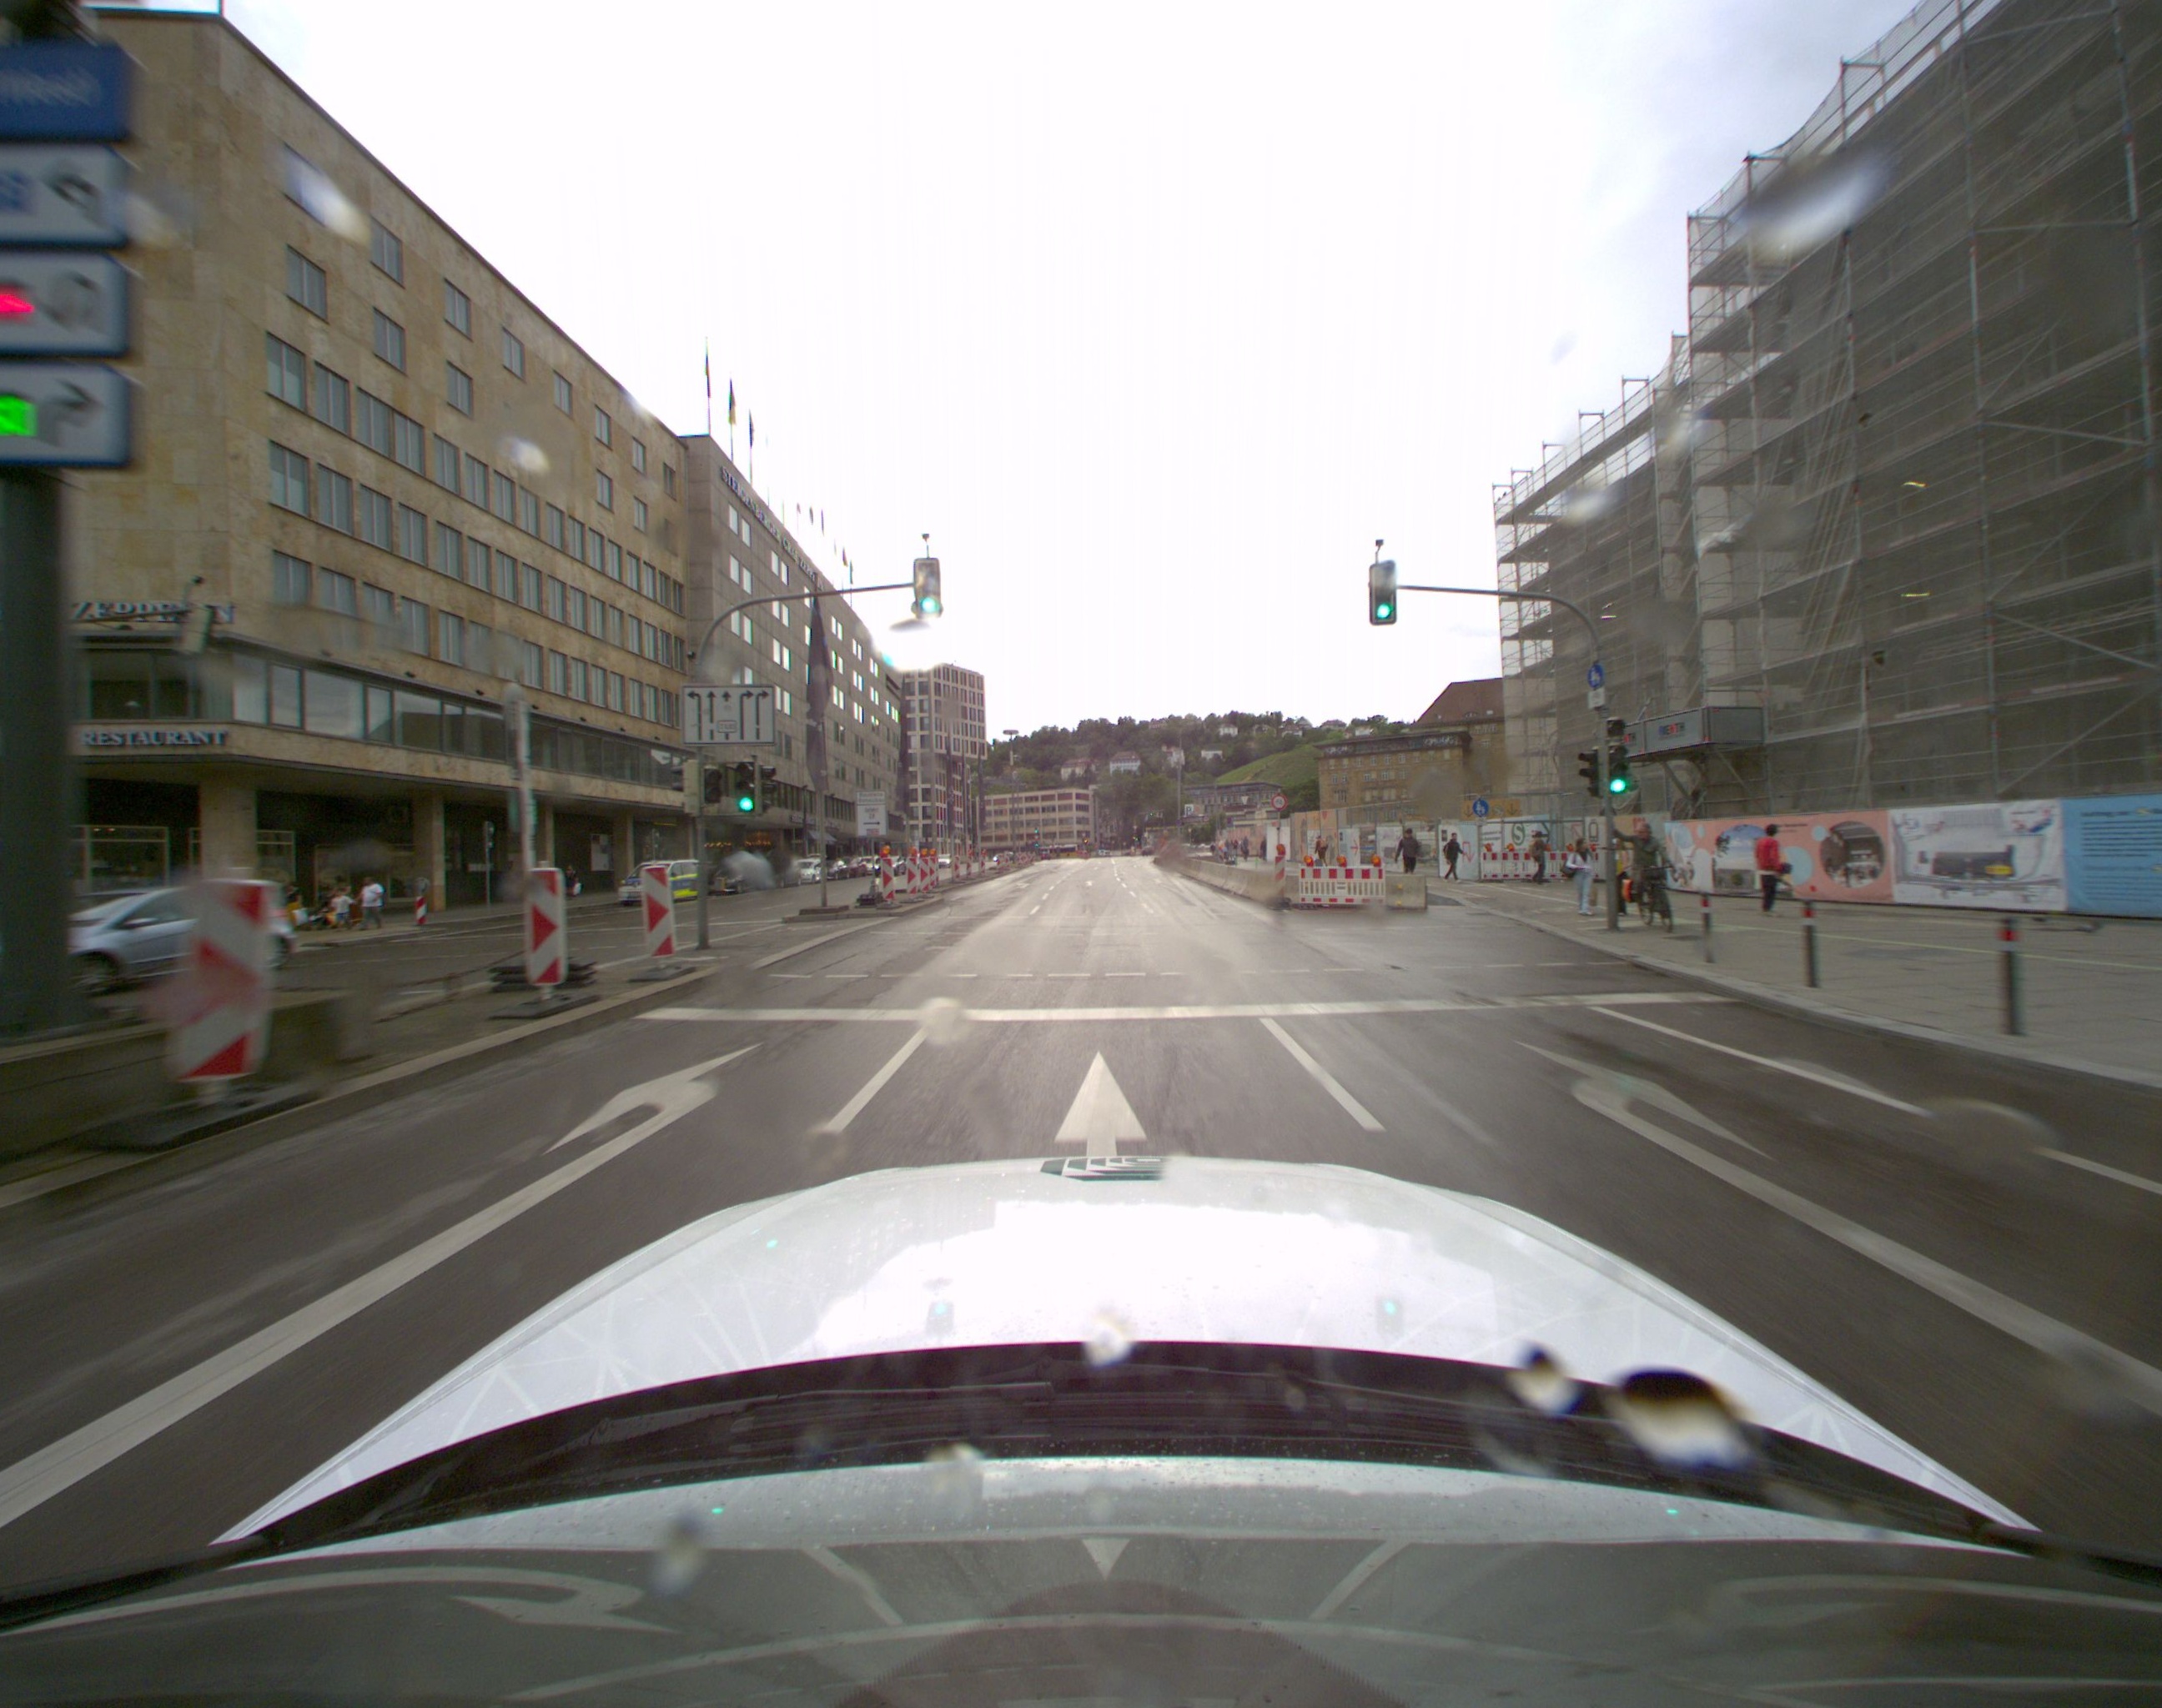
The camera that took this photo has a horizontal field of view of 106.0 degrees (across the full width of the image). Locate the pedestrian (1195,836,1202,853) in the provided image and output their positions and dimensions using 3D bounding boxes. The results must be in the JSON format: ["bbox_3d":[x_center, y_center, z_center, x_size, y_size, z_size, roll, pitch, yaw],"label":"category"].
[{"bbox_3d":[12.843,-1.037,88.833,0.685,1.841,0.615,-3,0,4],"label":"pedestrian"}]

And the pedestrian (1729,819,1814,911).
[{"bbox_3d":[12.665,0.190,14.963,0.769,1.608,0.859,-3,0,-15],"label":"pedestrian"}]

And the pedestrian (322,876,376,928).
[{"bbox_3d":[-22.986,1.496,25.594,0.718,1.557,1.005,-3,0,1],"label":"pedestrian"}]

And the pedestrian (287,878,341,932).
[{"bbox_3d":[-23.081,1.518,24.520,0.718,1.557,0.895,-3,0,1],"label":"pedestrian"}]

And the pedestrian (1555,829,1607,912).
[{"bbox_3d":[9.985,0.320,16.296,0.787,1.608,0.841,-3,0,28],"label":"pedestrian"}]

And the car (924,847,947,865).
[{"bbox_3d":[-17.601,0.252,98.650,1.987,2.013,4.000,-4,1,0],"label":"car"}]

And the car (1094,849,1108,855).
[{"bbox_3d":[4.536,-0.452,187.606,1.999,1.442,3.976,-1,1,-18],"label":"car"}]

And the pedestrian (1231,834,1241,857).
[{"bbox_3d":[12.524,-0.680,65.801,0.685,1.841,0.615,-3,0,4],"label":"pedestrian"}]

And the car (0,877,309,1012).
[{"bbox_3d":[-14.885,1.266,12.618,1.763,1.609,4.225,-3,0,0],"label":"car"}]

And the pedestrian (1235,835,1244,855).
[{"bbox_3d":[14.677,-0.852,75.240,0.685,1.841,0.615,-3,0,4],"label":"pedestrian"}]

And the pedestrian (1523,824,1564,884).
[{"bbox_3d":[14.783,-0.010,26.060,0.859,1.841,0.799,-3,0,9],"label":"pedestrian"}]

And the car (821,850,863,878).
[{"bbox_3d":[-18.507,0.734,63.314,1.987,2.013,4.000,-3,0,0],"label":"car"}]

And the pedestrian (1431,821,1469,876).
[{"bbox_3d":[12.748,-0.180,28.146,0.856,1.841,0.955,-3,0,42],"label":"pedestrian"}]

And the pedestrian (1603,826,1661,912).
[{"bbox_3d":[10.624,0.279,15.740,0.787,1.608,0.841,-3,0,28],"label":"pedestrian"}]

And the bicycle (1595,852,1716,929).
[{"bbox_3d":[9.516,0.567,13.587,0.704,1.049,1.808,-9,1,4],"label":"bicycle"}]

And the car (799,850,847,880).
[{"bbox_3d":[-18.400,0.749,58.250,1.987,2.013,4.000,-3,0,0],"label":"car"}]

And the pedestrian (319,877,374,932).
[{"bbox_3d":[-21.666,1.474,24.041,0.718,1.557,0.905,-3,0,1],"label":"pedestrian"}]

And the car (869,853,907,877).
[{"bbox_3d":[-15.549,0.856,65.860,1.987,1.750,4.000,-3,0,0],"label":"car"}]

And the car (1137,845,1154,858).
[{"bbox_3d":[9.191,-0.333,116.421,1.988,1.706,3.998,-3,0,-2],"label":"car"}]

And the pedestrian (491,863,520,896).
[{"bbox_3d":[-27.544,1.204,38.968,0.792,1.526,0.717,-3,0,1],"label":"pedestrian"}]

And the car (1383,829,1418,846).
[{"bbox_3d":[41.992,-2.185,107.058,3.963,2.013,2.005,-3,0,9],"label":"car"}]

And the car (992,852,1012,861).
[{"bbox_3d":[-16.369,0.484,169.540,1.974,1.596,4.026,-3,1,32],"label":"car"}]

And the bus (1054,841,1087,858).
[{"bbox_3d":[-2.637,-1.171,201.450,2.715,3.760,9.218,-3,0,-39],"label":"bus"}]

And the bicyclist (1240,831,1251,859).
[{"bbox_3d":[12.257,-0.662,60.540,0.639,2.013,0.656,-3,0,4],"label":"bicyclist"}]

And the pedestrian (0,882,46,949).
[{"bbox_3d":[-29.800,1.701,22.767,0.697,1.803,0.756,-3,0,-19],"label":"pedestrian"}]

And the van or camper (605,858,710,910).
[{"bbox_3d":[-18.566,1.240,36.016,1.988,2.013,4.963,-3,0,-1],"label":"van or camper"}]

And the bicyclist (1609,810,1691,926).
[{"bbox_3d":[9.511,0.224,13.656,0.700,1.844,0.969,-1,0,4],"label":"bicyclist"}]

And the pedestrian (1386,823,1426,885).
[{"bbox_3d":[9.923,-0.003,24.874,0.937,1.841,0.953,-3,0,30],"label":"pedestrian"}]

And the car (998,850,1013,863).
[{"bbox_3d":[-12.874,0.464,138.876,1.987,2.013,4.000,-4,1,0],"label":"car"}]

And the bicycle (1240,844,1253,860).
[{"bbox_3d":[12.258,-0.121,60.313,0.642,1.137,1.766,-3,0,4],"label":"bicycle"}]

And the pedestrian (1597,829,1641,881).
[{"bbox_3d":[17.598,0.031,26.643,0.861,1.661,0.798,-3,0,2],"label":"pedestrian"}]

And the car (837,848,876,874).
[{"bbox_3d":[-18.852,0.587,68.561,1.987,2.013,4.000,-3,0,0],"label":"car"}]

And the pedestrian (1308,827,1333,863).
[{"bbox_3d":[12.670,-0.465,43.037,0.944,1.841,0.866,-3,0,-4],"label":"pedestrian"}]

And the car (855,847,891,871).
[{"bbox_3d":[-18.735,0.449,73.606,1.987,2.013,4.416,-3,0,0],"label":"car"}]

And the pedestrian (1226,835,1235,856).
[{"bbox_3d":[13.446,-0.803,73.090,0.685,1.841,0.615,-3,0,4],"label":"pedestrian"}]

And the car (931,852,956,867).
[{"bbox_3d":[-15.310,0.583,90.924,1.987,1.618,4.000,-3,0,0],"label":"car"}]

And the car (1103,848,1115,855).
[{"bbox_3d":[5.908,-0.480,173.779,1.820,1.442,3.986,-1,1,-10],"label":"car"}]

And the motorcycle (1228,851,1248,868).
[{"bbox_3d":[6.294,0.218,32.715,0.401,0.682,0.917,-1,1,-16],"label":"motorcycle"}]

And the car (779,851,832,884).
[{"bbox_3d":[-18.465,0.863,54.807,1.987,2.013,4.164,-3,0,0],"label":"car"}]

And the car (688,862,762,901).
[{"bbox_3d":[-18.513,1.390,42.589,1.987,1.837,4.000,-3,0,0],"label":"car"}]

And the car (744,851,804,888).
[{"bbox_3d":[-18.372,0.874,48.931,1.987,2.013,4.000,-3,0,0],"label":"car"}]

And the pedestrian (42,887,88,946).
[{"bbox_3d":[-29.466,1.788,23.627,0.654,1.644,0.689,-3,0,-40],"label":"pedestrian"}]

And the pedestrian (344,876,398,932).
[{"bbox_3d":[-20.951,1.468,24.056,0.718,1.557,0.895,-3,0,1],"label":"pedestrian"}]

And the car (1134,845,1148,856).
[{"bbox_3d":[9.325,-0.550,126.498,1.770,1.639,4.000,-3,0,1],"label":"car"}]

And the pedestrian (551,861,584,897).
[{"bbox_3d":[-22.933,1.119,36.401,0.792,1.526,0.916,-3,0,1],"label":"pedestrian"}]

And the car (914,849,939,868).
[{"bbox_3d":[-17.635,0.503,93.399,1.987,2.013,4.000,-3,0,0],"label":"car"}]

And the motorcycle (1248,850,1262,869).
[{"bbox_3d":[6.691,0.214,31.372,0.369,0.722,0.922,-1,1,2],"label":"motorcycle"}]

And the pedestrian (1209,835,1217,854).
[{"bbox_3d":[12.850,-0.892,79.313,0.685,1.841,0.615,-3,0,4],"label":"pedestrian"}]

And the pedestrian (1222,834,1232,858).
[{"bbox_3d":[11.791,-0.638,65.870,0.685,1.841,0.615,-3,0,4],"label":"pedestrian"}]

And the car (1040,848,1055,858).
[{"bbox_3d":[-5.920,-0.193,142.603,1.995,1.552,3.984,-3,0,-11],"label":"car"}]

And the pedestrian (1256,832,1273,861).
[{"bbox_3d":[12.148,-0.498,53.934,0.941,1.841,0.869,-3,0,6],"label":"pedestrian"}]
